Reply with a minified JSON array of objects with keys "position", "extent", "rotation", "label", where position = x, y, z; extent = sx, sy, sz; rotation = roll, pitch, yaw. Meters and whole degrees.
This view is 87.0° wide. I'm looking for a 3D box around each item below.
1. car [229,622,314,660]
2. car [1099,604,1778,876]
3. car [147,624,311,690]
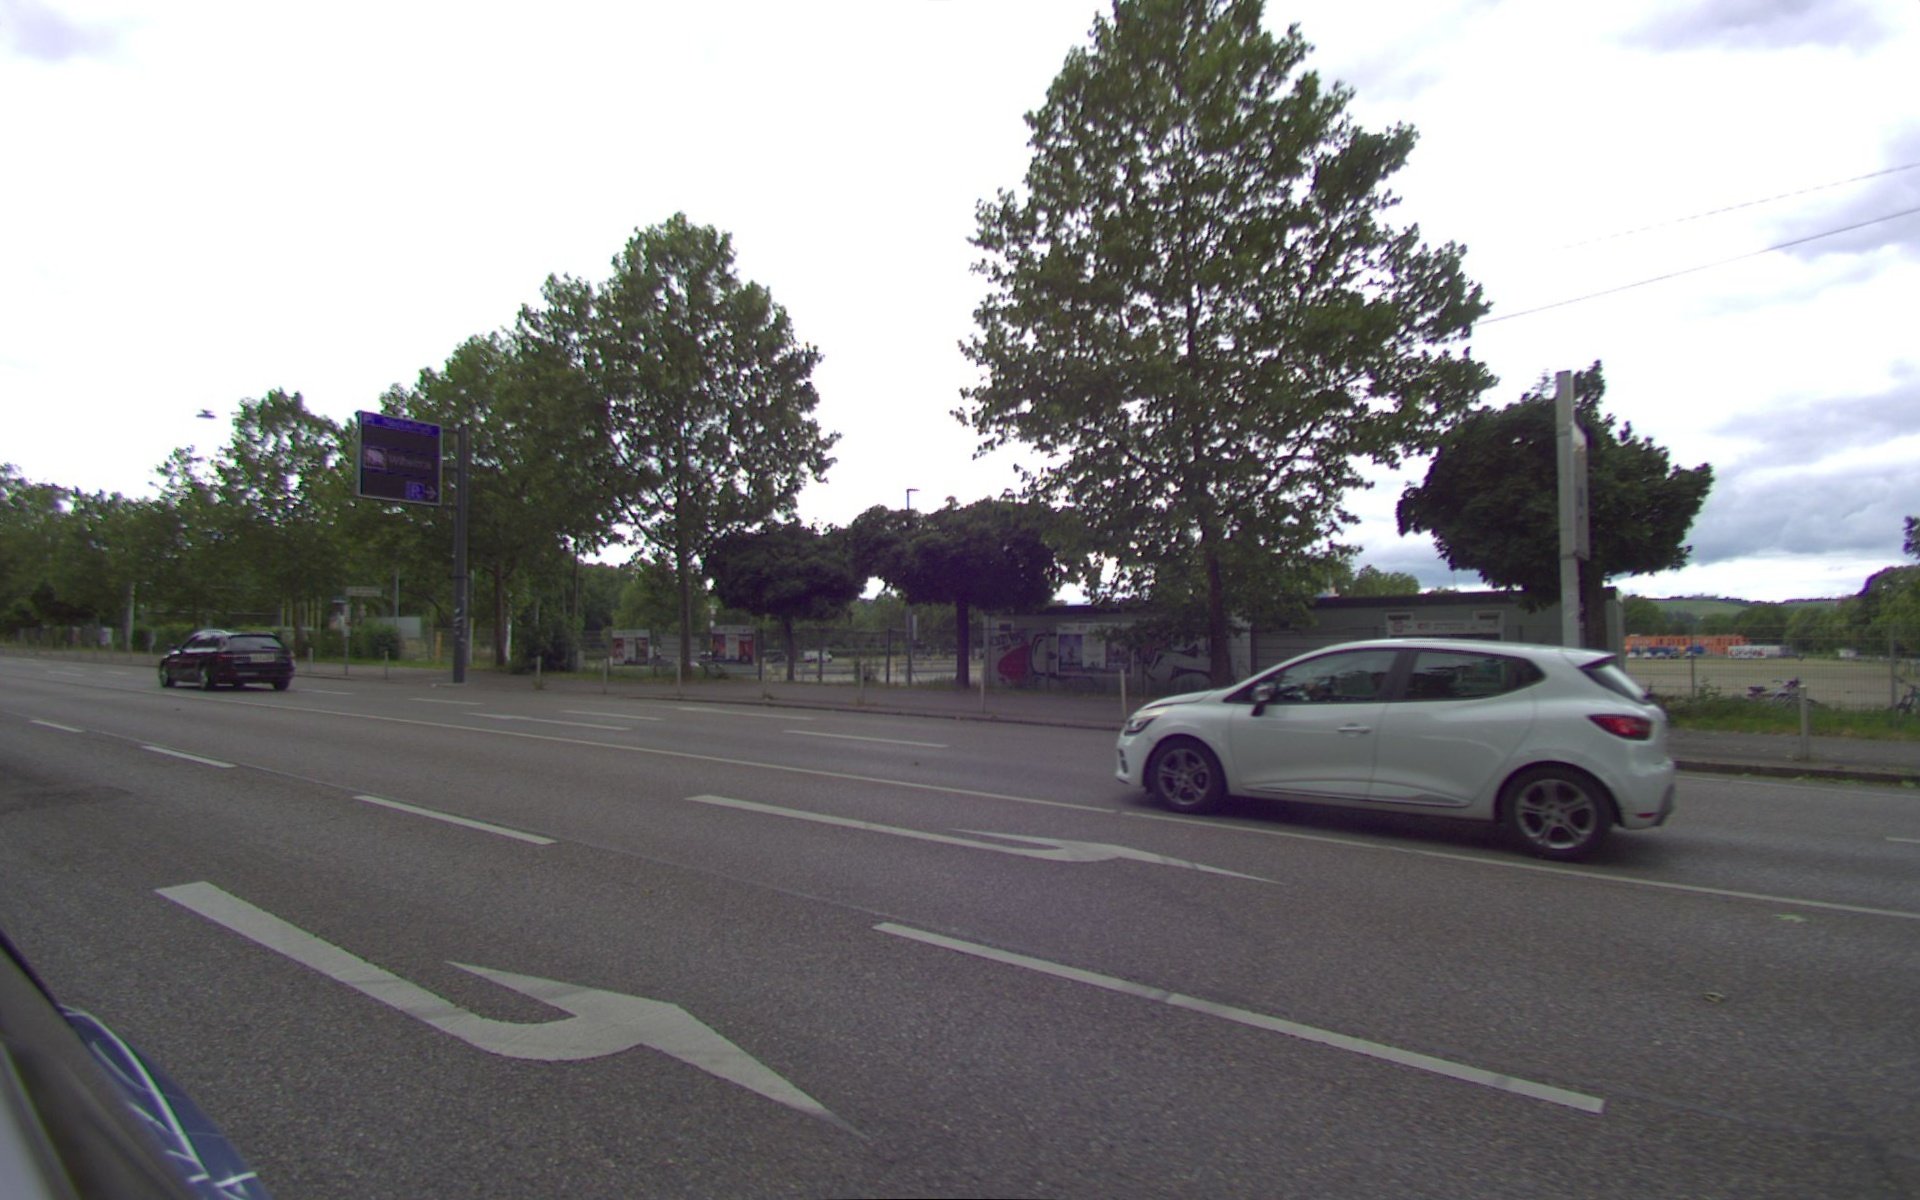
[{"position":[-38.775,2.314,56.980],"extent":[4.622,2.029,2.367],"rotation":[-1,-3,33],"label":"car"},{"position":[3.486,0.887,7.892],"extent":[4.377,1.542,1.975],"rotation":[-1,-4,37],"label":"car"},{"position":[-18.640,1.420,25.732],"extent":[4.716,1.542,1.975],"rotation":[-1,-4,36],"label":"car"}]
